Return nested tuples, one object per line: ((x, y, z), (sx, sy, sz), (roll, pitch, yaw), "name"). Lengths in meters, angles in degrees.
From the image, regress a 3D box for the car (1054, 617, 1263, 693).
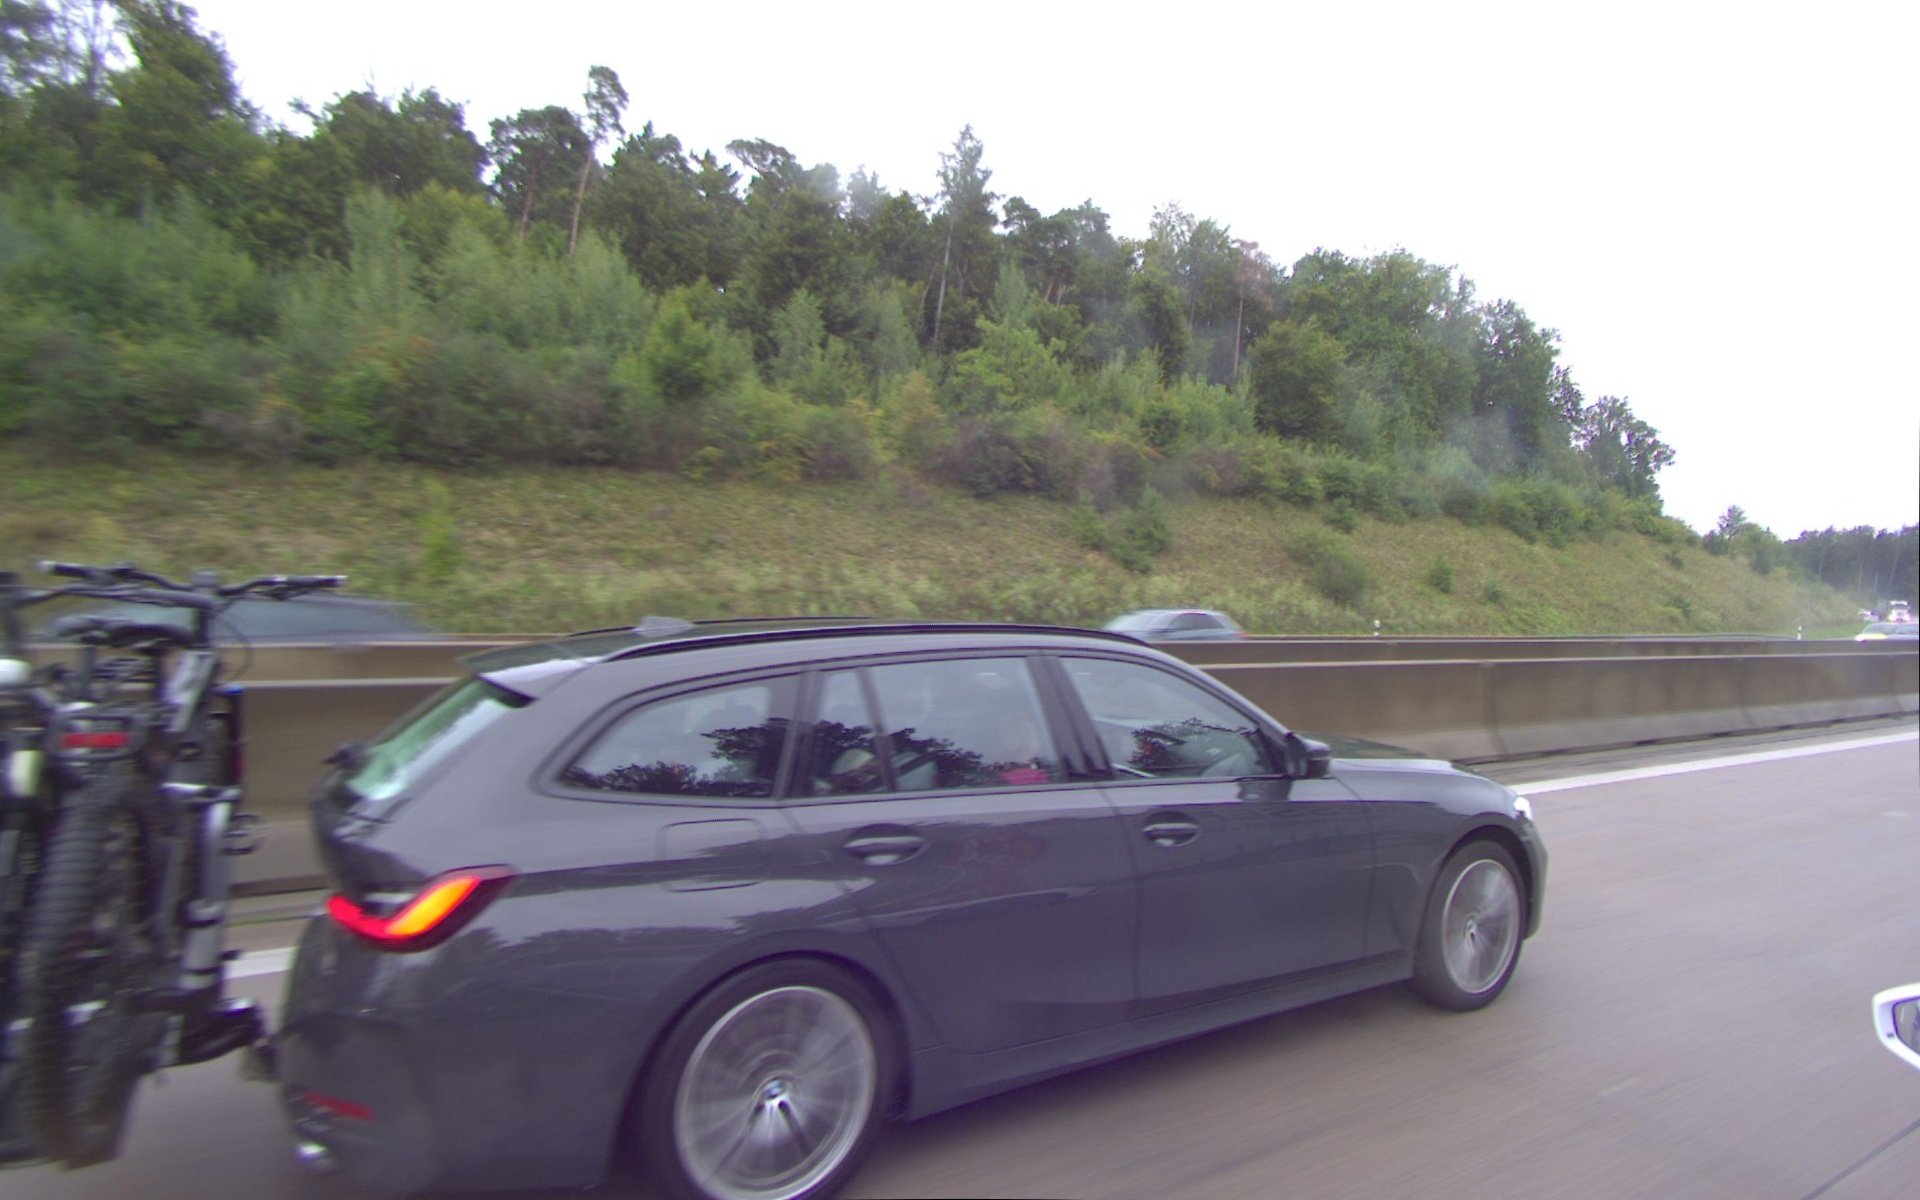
((4.040, 1.067, 20.266), (4.037, 1.364, 1.646), (1, 0, -30), "car")

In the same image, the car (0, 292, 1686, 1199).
((0.055, 0.540, 3.649), (6.090, 1.971, 1.898), (1, -1, -30), "car")

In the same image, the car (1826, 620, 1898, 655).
((41.371, 1.671, 46.041), (4.241, 1.507, 1.563), (1, 0, -36), "car")

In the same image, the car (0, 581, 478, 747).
((-6.985, 0.557, 9.785), (4.037, 1.364, 1.646), (1, 0, -30), "car")
